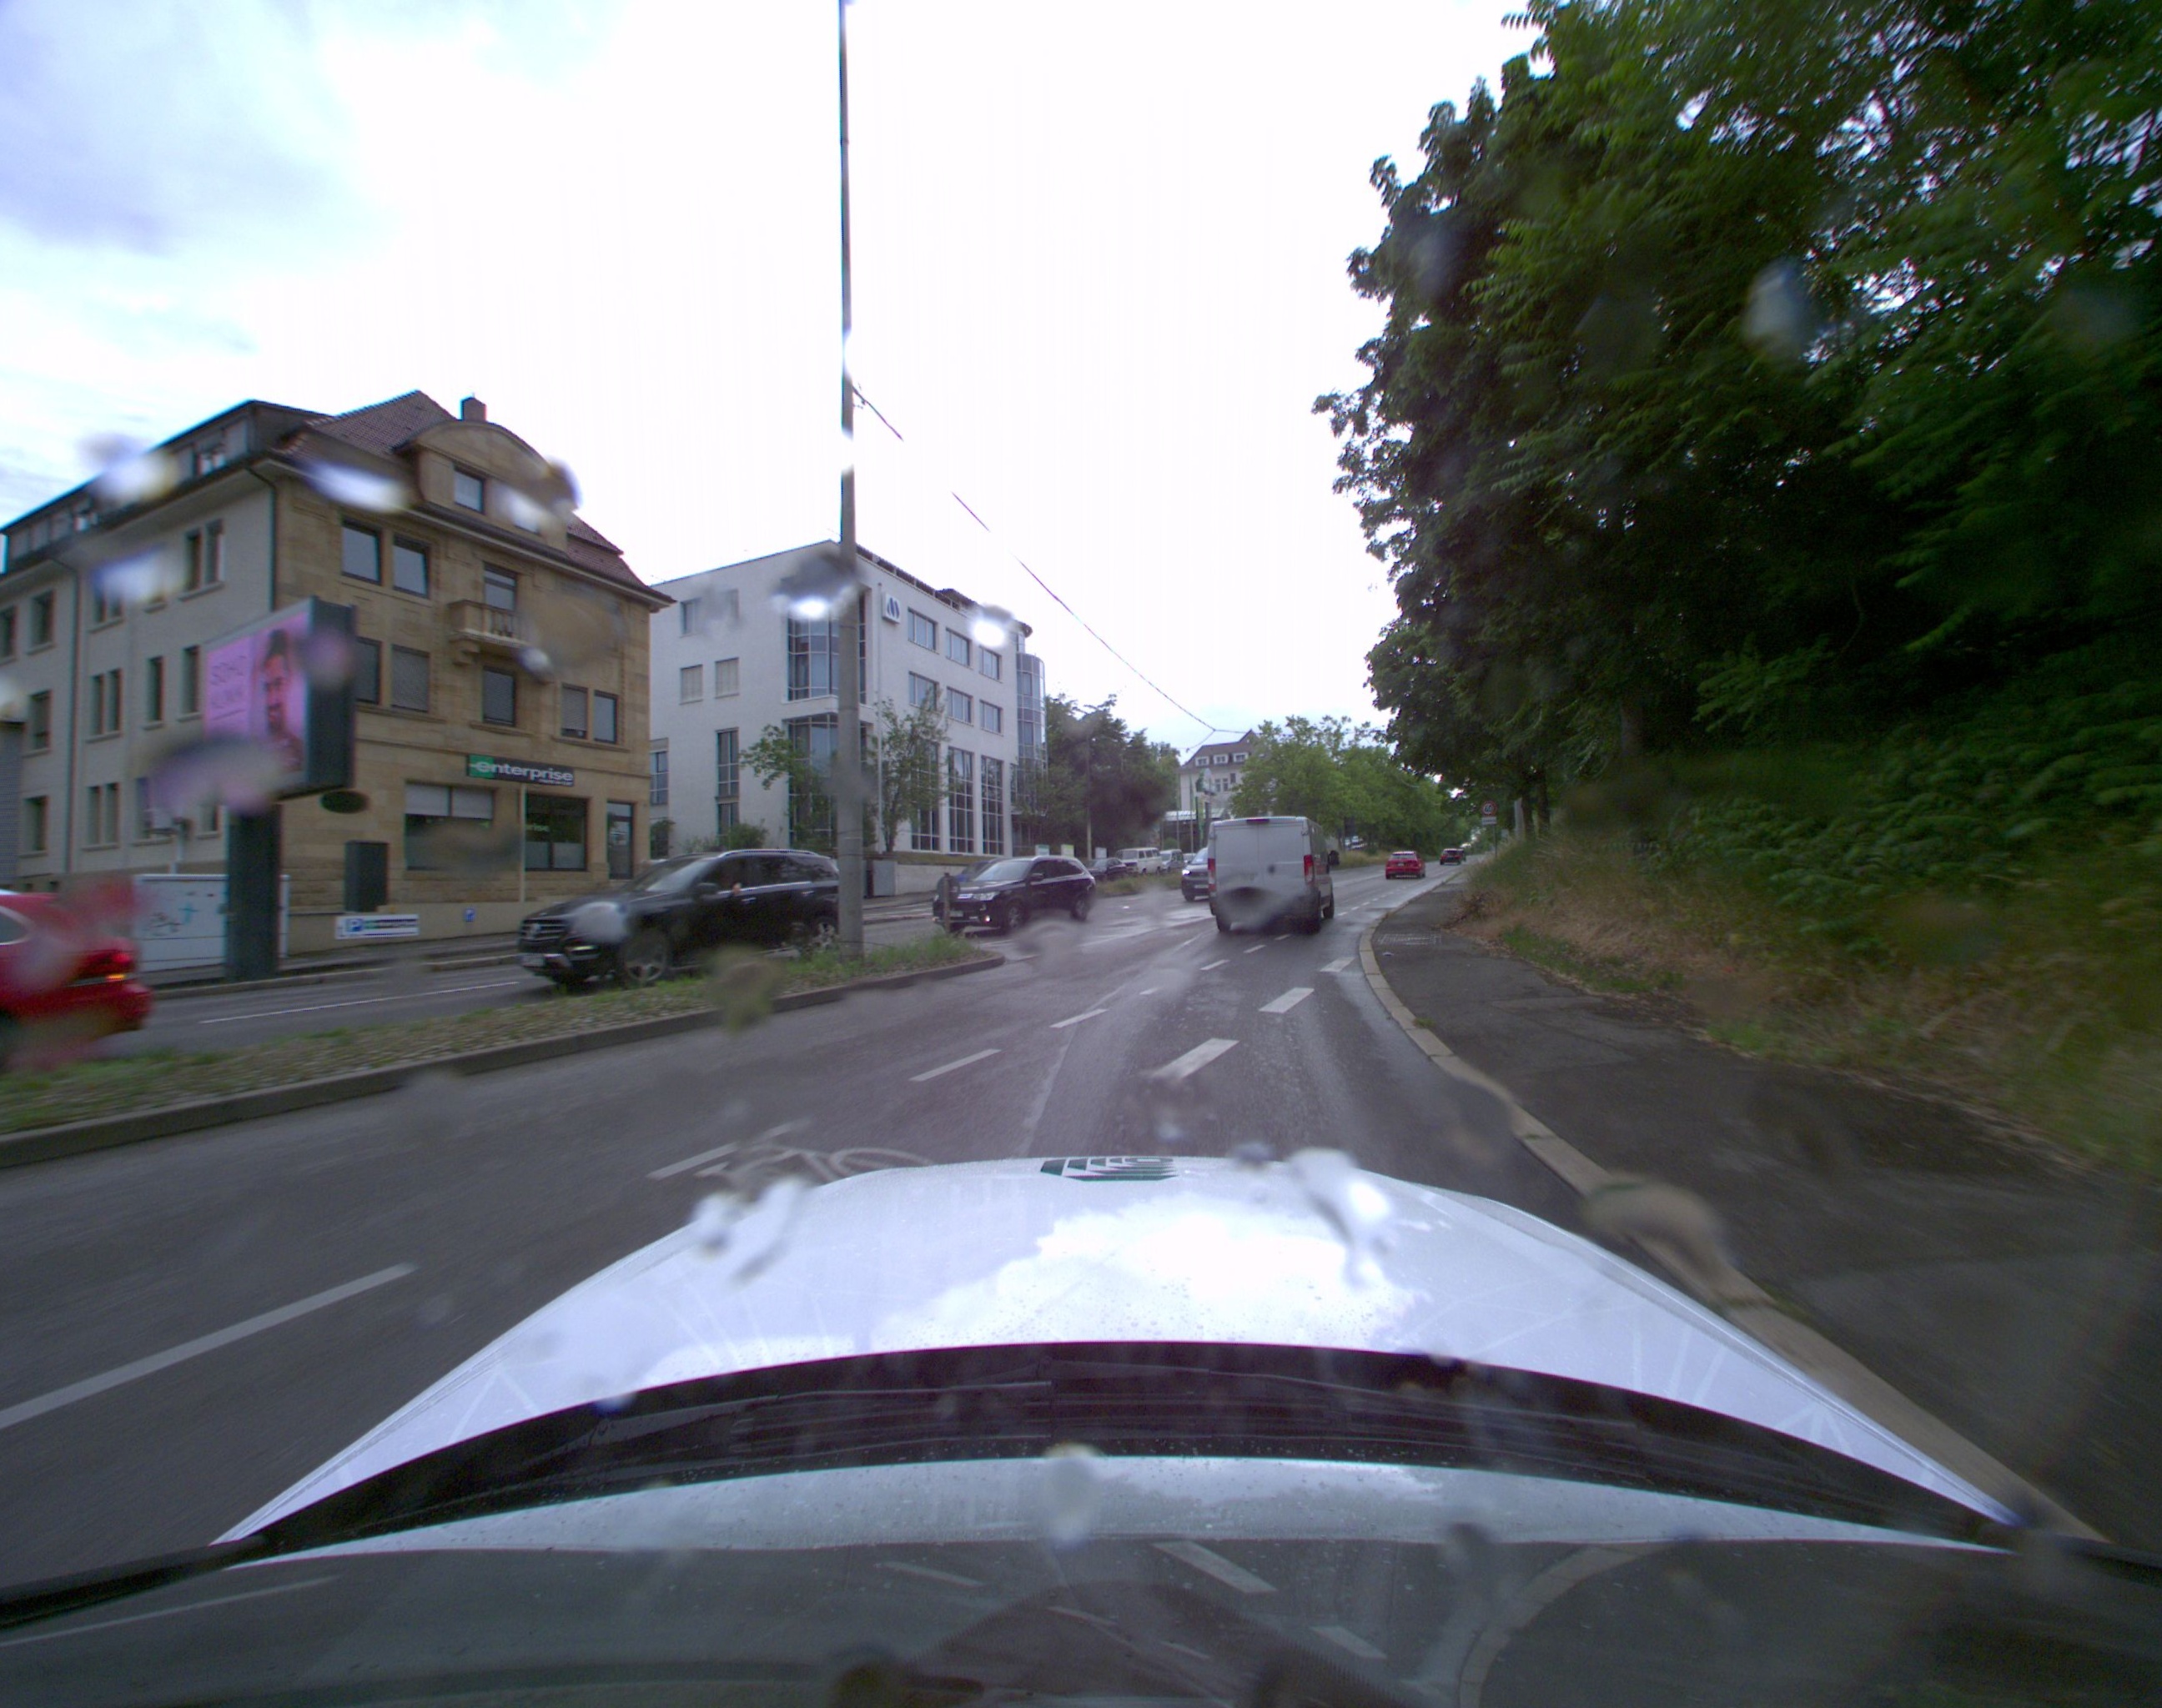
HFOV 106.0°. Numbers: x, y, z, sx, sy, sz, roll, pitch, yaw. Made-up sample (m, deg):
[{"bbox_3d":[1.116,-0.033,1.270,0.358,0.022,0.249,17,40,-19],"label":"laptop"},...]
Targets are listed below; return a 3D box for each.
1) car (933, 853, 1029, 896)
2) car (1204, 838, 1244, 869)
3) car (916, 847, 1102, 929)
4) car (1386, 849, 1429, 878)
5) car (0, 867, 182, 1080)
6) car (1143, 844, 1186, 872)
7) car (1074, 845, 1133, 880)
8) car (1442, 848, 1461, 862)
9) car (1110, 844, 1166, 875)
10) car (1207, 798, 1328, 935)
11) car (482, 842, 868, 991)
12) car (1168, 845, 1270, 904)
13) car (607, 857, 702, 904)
[{"bbox_3d":[-4.157,0.830,34.622,1.672,1.534,4.700,-3,0,26],"label":"car"},{"bbox_3d":[12.472,-0.086,70.671,1.945,2.443,5.688,-3,0,24],"label":"car"},{"bbox_3d":[-1.430,0.749,18.295,1.672,1.605,4.757,-3,-3,30],"label":"car"},{"bbox_3d":[17.007,0.526,42.360,1.677,1.426,3.388,-1,-2,29],"label":"car"},{"bbox_3d":[-9.229,0.867,5.118,1.789,1.531,4.468,-3,-3,28],"label":"car"},{"bbox_3d":[5.669,0.238,54.957,1.577,1.695,3.804,-3,0,26],"label":"car"},{"bbox_3d":[1.294,0.441,44.834,1.595,1.721,4.018,-3,0,26],"label":"car"},{"bbox_3d":[32.973,0.132,72.496,1.331,1.139,2.303,-3,-3,29],"label":"car"},{"bbox_3d":[3.622,0.311,50.943,1.754,1.746,4.611,-3,0,26],"label":"car"},{"bbox_3d":[4.184,0.257,17.614,2.033,2.516,4.966,-1,-1,18],"label":"car"},{"bbox_3d":[-5.499,0.735,11.766,1.936,1.697,4.654,-3,-1,29],"label":"car"},{"bbox_3d":[5.098,0.677,29.424,1.995,1.867,5.072,-3,-1,29],"label":"car"},{"bbox_3d":[-16.333,1.035,31.220,3.015,1.676,1.725,-3,-3,24],"label":"car"}]
